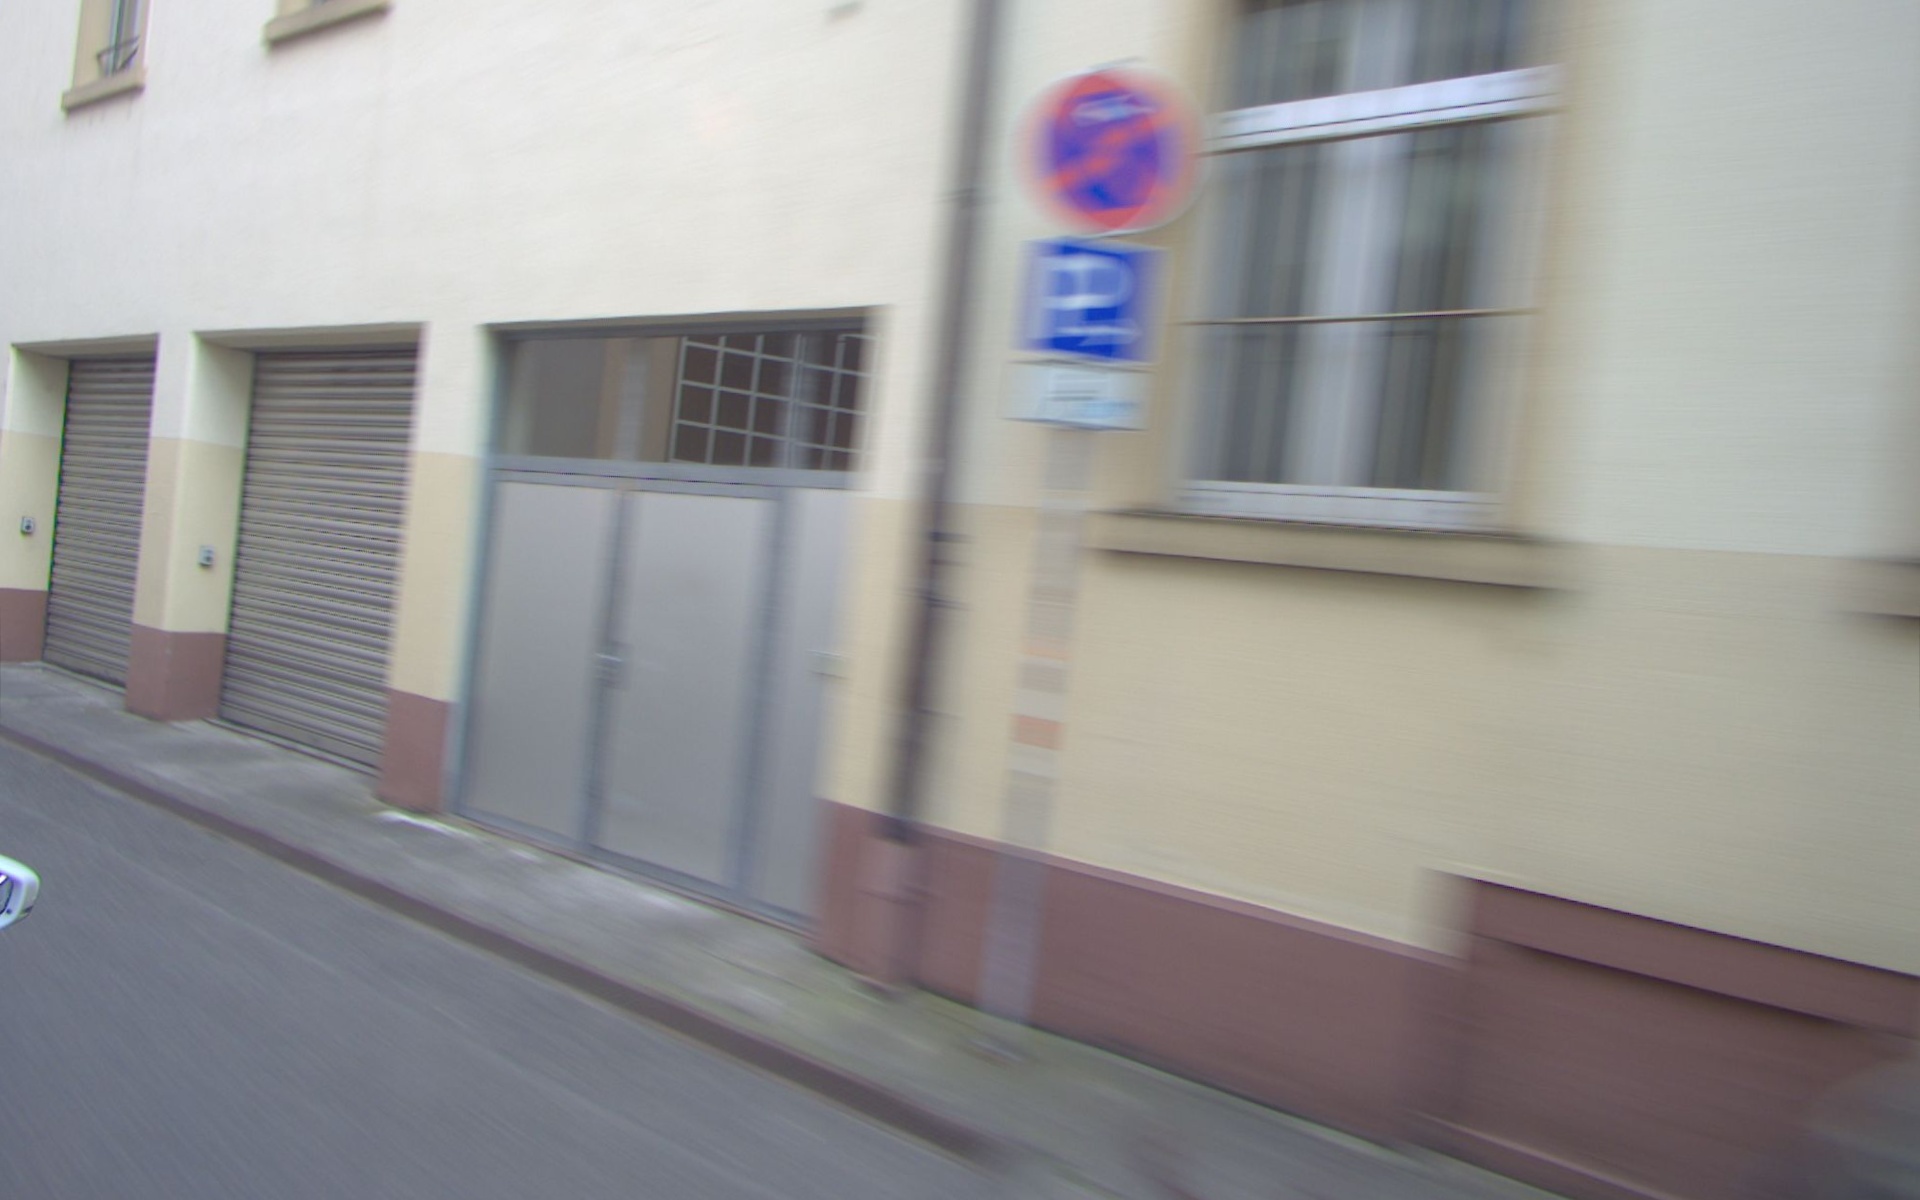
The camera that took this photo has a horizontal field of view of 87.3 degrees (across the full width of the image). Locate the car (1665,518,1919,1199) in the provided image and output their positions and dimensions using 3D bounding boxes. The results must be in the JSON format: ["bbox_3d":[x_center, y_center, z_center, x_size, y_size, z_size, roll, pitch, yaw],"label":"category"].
[{"bbox_3d":[3.360,1.037,0.478,4.668,1.787,1.764,7,-2,28],"label":"car"}]
